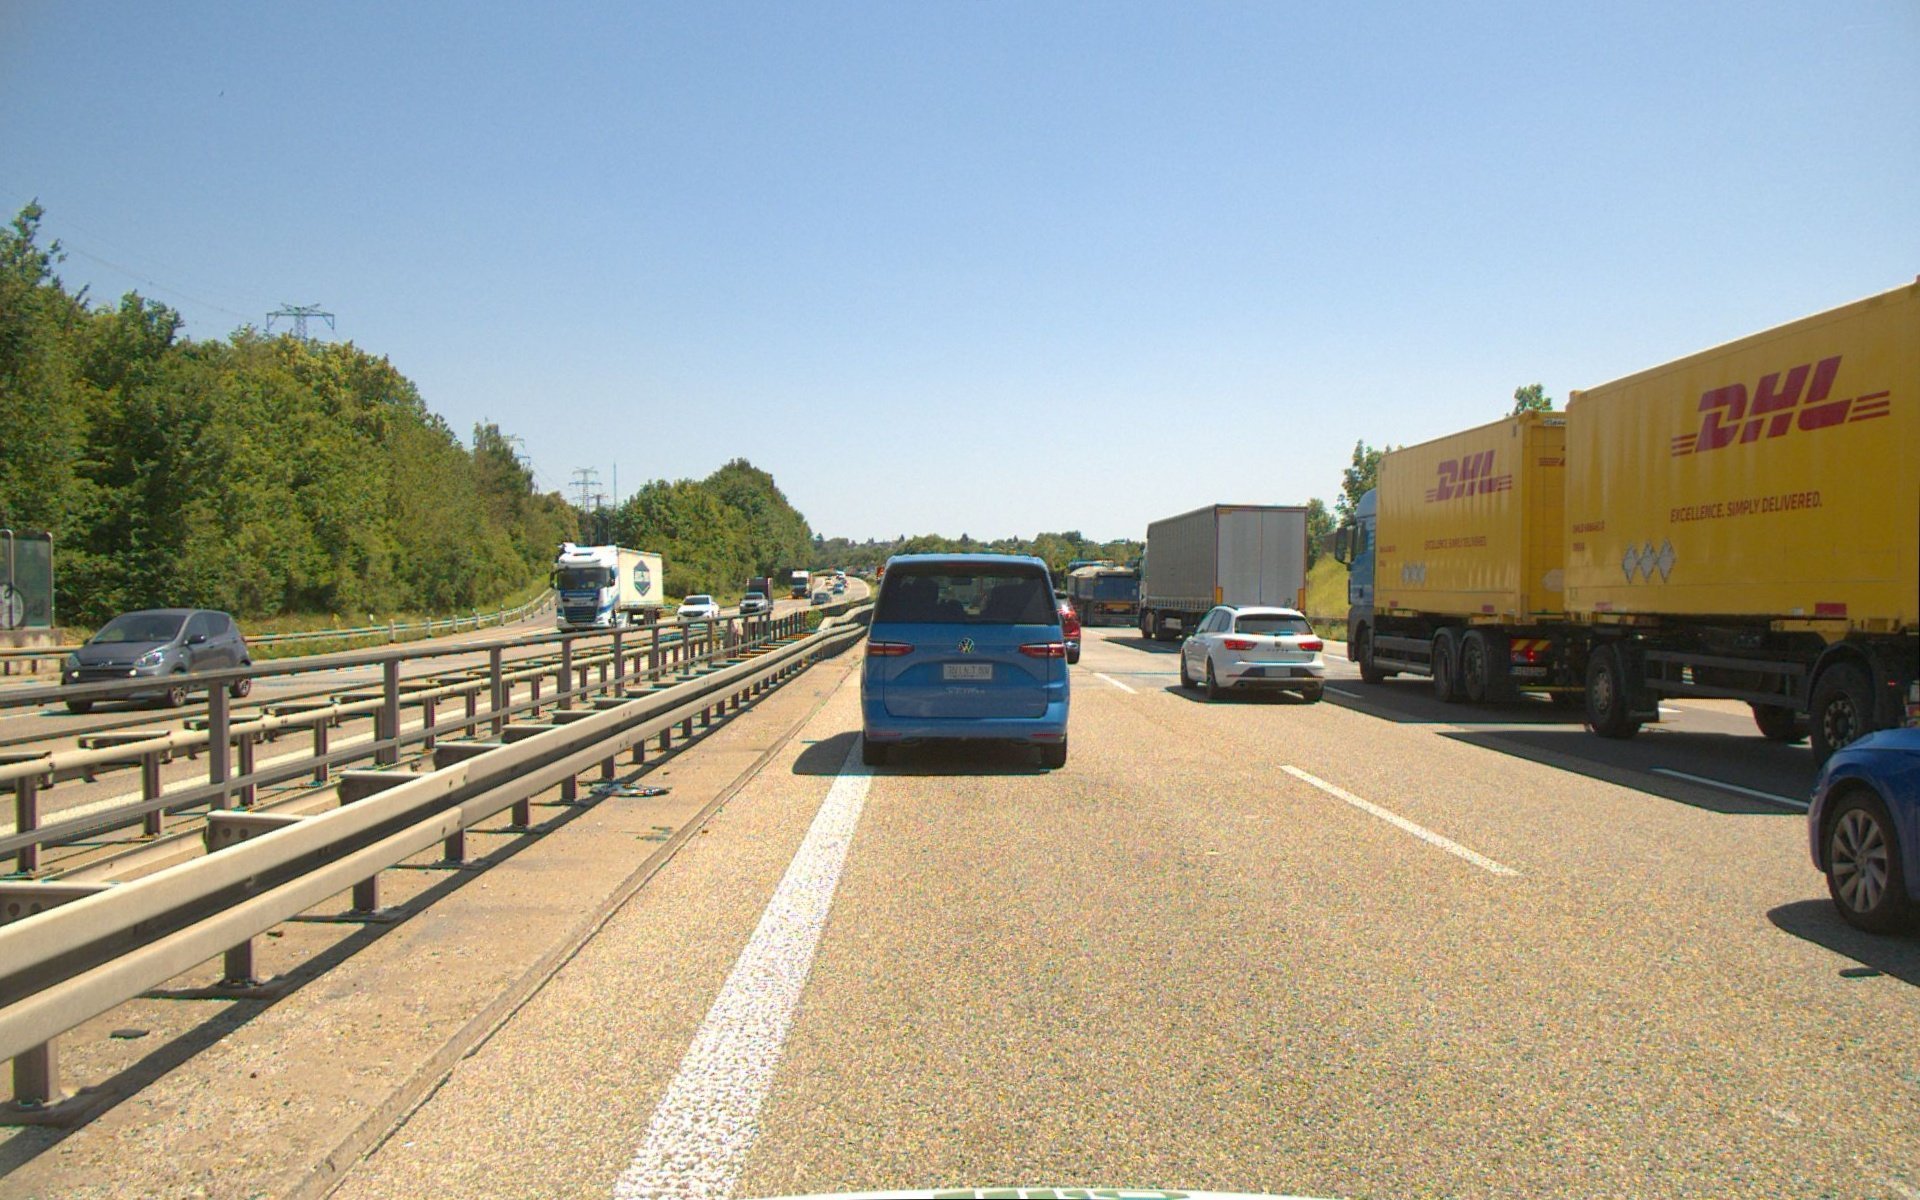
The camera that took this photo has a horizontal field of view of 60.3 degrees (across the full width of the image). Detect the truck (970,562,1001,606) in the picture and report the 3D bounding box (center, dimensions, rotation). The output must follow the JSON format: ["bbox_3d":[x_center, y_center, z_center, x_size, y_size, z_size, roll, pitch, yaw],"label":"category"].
[{"bbox_3d":[2.981,-1.838,196.940,3.006,5.006,10.686,1,0,-2],"label":"truck"}]

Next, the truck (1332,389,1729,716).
[{"bbox_3d":[8.527,-0.624,26.430,2.709,4.181,9.950,1,0,-1],"label":"truck"}]

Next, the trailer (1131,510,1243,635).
[{"bbox_3d":[7.860,-0.940,58.077,2.865,4.114,6.409,0,1,-2],"label":"trailer"}]

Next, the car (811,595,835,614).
[{"bbox_3d":[-11.923,0.366,143.764,1.755,1.600,3.999,1,0,-1],"label":"car"}]

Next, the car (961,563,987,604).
[{"bbox_3d":[1.934,-2.214,226.218,3.153,5.349,8.141,1,0,-2],"label":"car"}]

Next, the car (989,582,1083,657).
[{"bbox_3d":[1.685,0.433,37.678,1.833,1.579,3.999,1,0,-2],"label":"car"}]

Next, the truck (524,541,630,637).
[{"bbox_3d":[-17.980,-0.504,78.012,3.925,4.302,4.857,-1,0,-2],"label":"truck"}]

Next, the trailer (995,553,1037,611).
[{"bbox_3d":[5.276,-1.631,158.795,3.571,5.226,13.075,1,0,0],"label":"trailer"}]

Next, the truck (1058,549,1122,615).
[{"bbox_3d":[6.987,-1.014,89.728,2.688,3.369,7.131,1,1,-1],"label":"truck"}]

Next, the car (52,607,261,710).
[{"bbox_3d":[-12.738,0.881,26.439,1.619,1.488,3.541,-1,0,-1],"label":"car"}]

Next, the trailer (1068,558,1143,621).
[{"bbox_3d":[7.155,-0.592,82.470,2.688,2.886,9.114,1,1,-1],"label":"trailer"}]

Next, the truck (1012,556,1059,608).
[{"bbox_3d":[6.197,-1.431,136.615,3.551,4.166,7.524,1,0,1],"label":"truck"}]

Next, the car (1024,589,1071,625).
[{"bbox_3d":[3.760,0.293,71.805,1.803,1.480,4.000,1,0,0],"label":"car"}]

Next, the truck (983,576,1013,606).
[{"bbox_3d":[2.463,-0.553,107.391,1.690,1.890,3.998,1,0,-2],"label":"truck"}]

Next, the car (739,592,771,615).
[{"bbox_3d":[-15.144,0.257,122.559,1.833,1.654,4.628,1,0,-1],"label":"car"}]

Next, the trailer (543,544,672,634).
[{"bbox_3d":[-18.097,-0.496,86.190,3.908,4.309,14.037,0,0,-1],"label":"trailer"}]

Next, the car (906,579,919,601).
[{"bbox_3d":[-7.403,-1.532,257.412,1.953,3.473,3.998,1,0,-2],"label":"car"}]

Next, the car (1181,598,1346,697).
[{"bbox_3d":[4.709,0.698,26.199,1.829,1.385,4.000,1,0,0],"label":"car"}]

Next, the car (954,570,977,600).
[{"bbox_3d":[0.611,-1.517,172.354,2.239,3.060,5.575,1,0,1],"label":"car"}]

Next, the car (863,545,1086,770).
[{"bbox_3d":[0.114,0.497,16.056,1.862,1.870,3.999,1,0,0],"label":"car"}]

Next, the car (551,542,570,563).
[{"bbox_3d":[-59.007,-7.017,244.364,2.038,2.930,6.693,-1,0,-20],"label":"car"}]

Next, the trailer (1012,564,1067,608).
[{"bbox_3d":[6.060,-0.951,128.596,3.571,3.133,15.771,1,0,0],"label":"trailer"}]

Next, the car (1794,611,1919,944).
[{"bbox_3d":[5.108,0.799,6.182,1.671,1.466,4.426,1,0,-1],"label":"car"}]

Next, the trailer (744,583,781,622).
[{"bbox_3d":[-15.217,0.187,127.512,2.122,2.825,5.375,-3,0,-1],"label":"trailer"}]

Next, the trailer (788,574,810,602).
[{"bbox_3d":[-24.026,-1.774,246.588,2.701,4.045,6.130,-2,1,-2],"label":"trailer"}]

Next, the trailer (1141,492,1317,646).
[{"bbox_3d":[8.009,-0.878,51.488,2.902,4.120,13.748,0,0,-1],"label":"trailer"}]

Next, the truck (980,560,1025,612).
[{"bbox_3d":[4.497,-1.458,179.244,3.549,5.304,15.679,1,0,-3],"label":"truck"}]

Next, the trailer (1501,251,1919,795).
[{"bbox_3d":[8.665,-0.575,17.403,2.709,4.189,9.375,1,0,-1],"label":"trailer"}]

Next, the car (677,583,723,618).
[{"bbox_3d":[-13.497,0.040,85.989,1.713,1.725,4.384,-2,0,-1],"label":"car"}]
